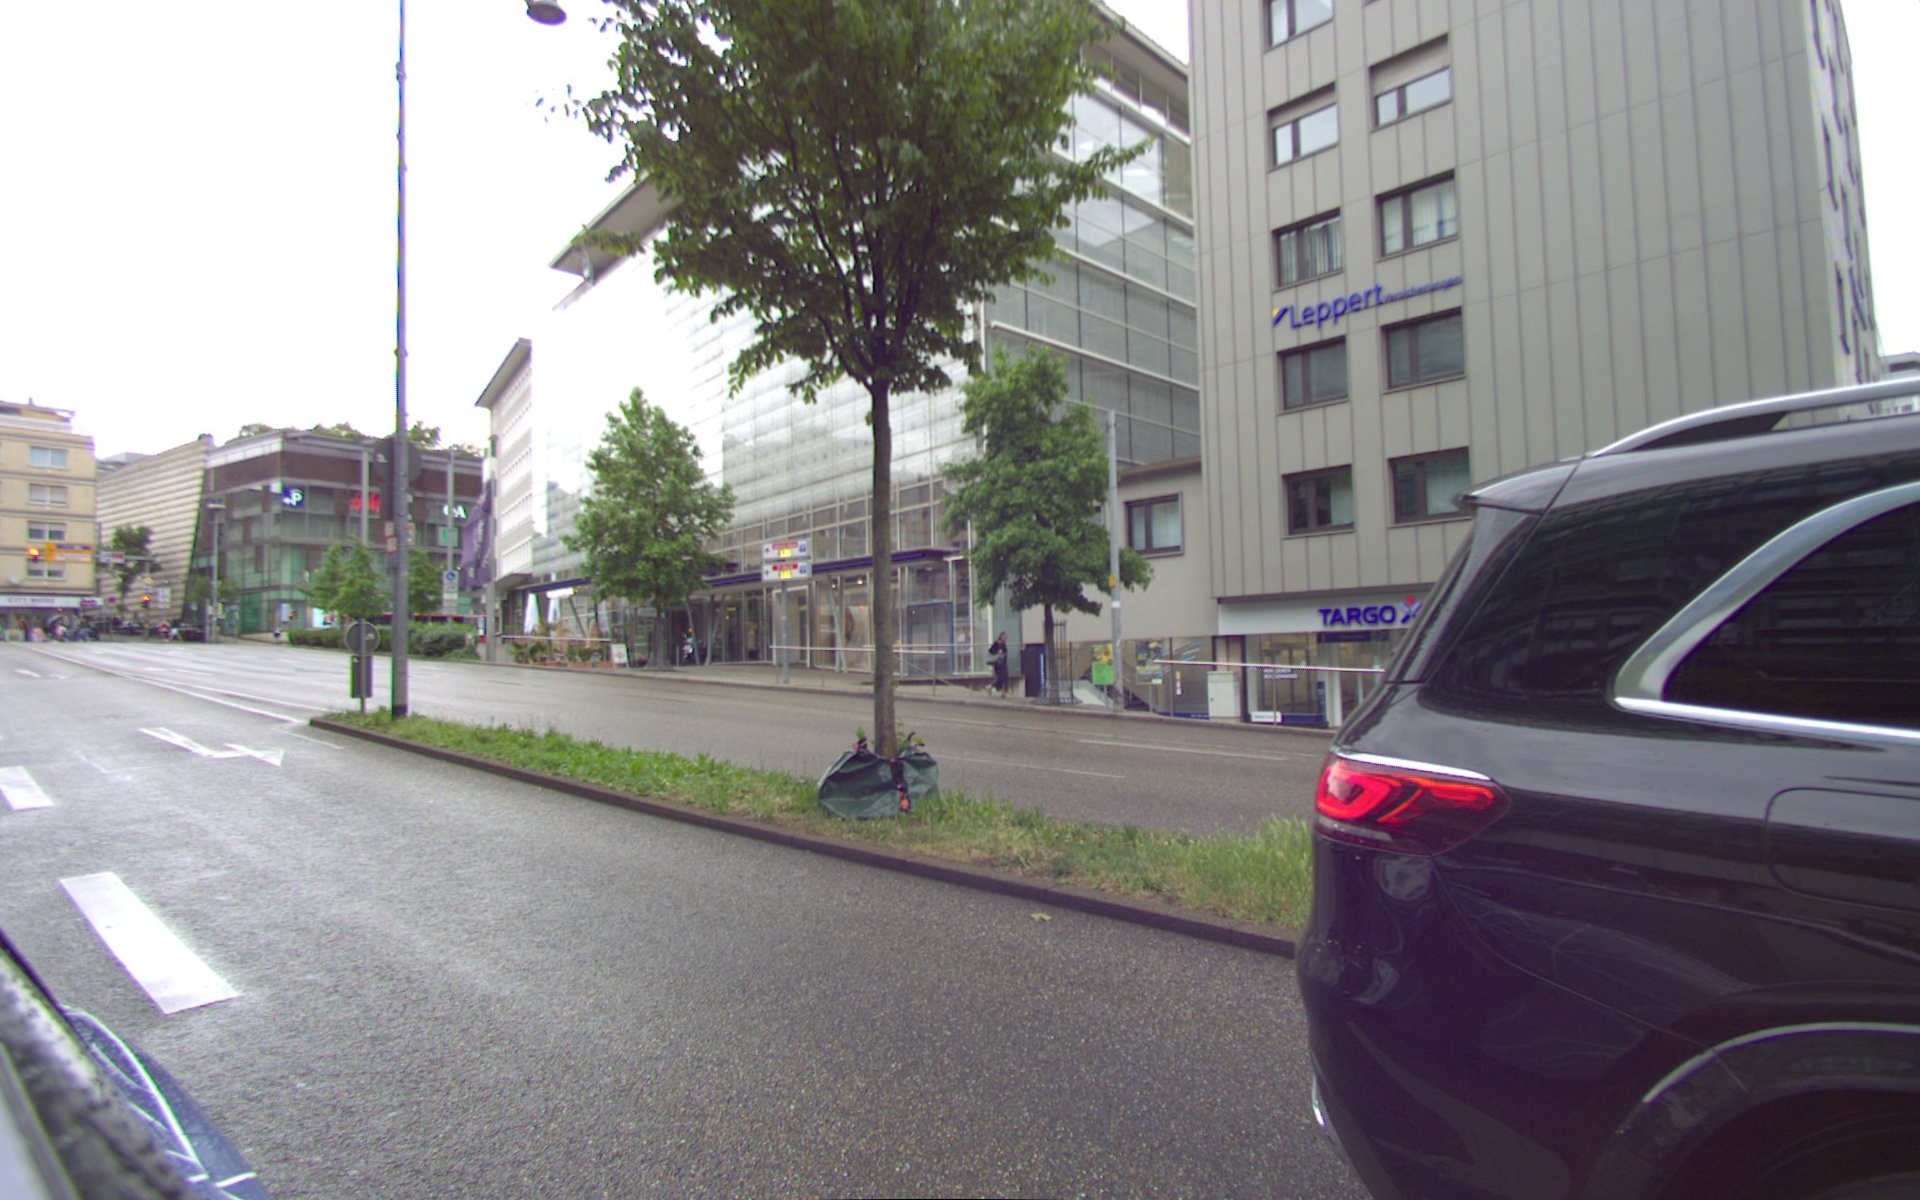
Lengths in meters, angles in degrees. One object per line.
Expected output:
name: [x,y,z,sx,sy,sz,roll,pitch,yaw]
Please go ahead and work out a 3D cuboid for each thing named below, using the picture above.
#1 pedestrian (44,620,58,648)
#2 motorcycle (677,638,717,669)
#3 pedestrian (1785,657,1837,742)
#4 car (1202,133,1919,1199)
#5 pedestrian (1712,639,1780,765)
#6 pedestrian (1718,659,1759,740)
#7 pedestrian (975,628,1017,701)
pedestrian: [-59.398,2.226,66.128,0.618,1.788,0.689,0,0,-45]
motorcycle: [-11.986,2.433,46.134,0.620,1.336,1.685,-1,-3,41]
pedestrian: [17.811,2.052,21.193,0.724,1.710,0.781,0,-3,34]
car: [2.963,0.385,0.884,5.069,1.884,1.892,0,0,40]
pedestrian: [11.088,1.409,14.282,0.725,1.694,0.584,0,0,41]
pedestrian: [16.865,2.144,21.939,0.634,1.649,0.781,0,0,34]
pedestrian: [0.849,1.502,23.897,0.626,1.649,0.791,0,0,-41]
